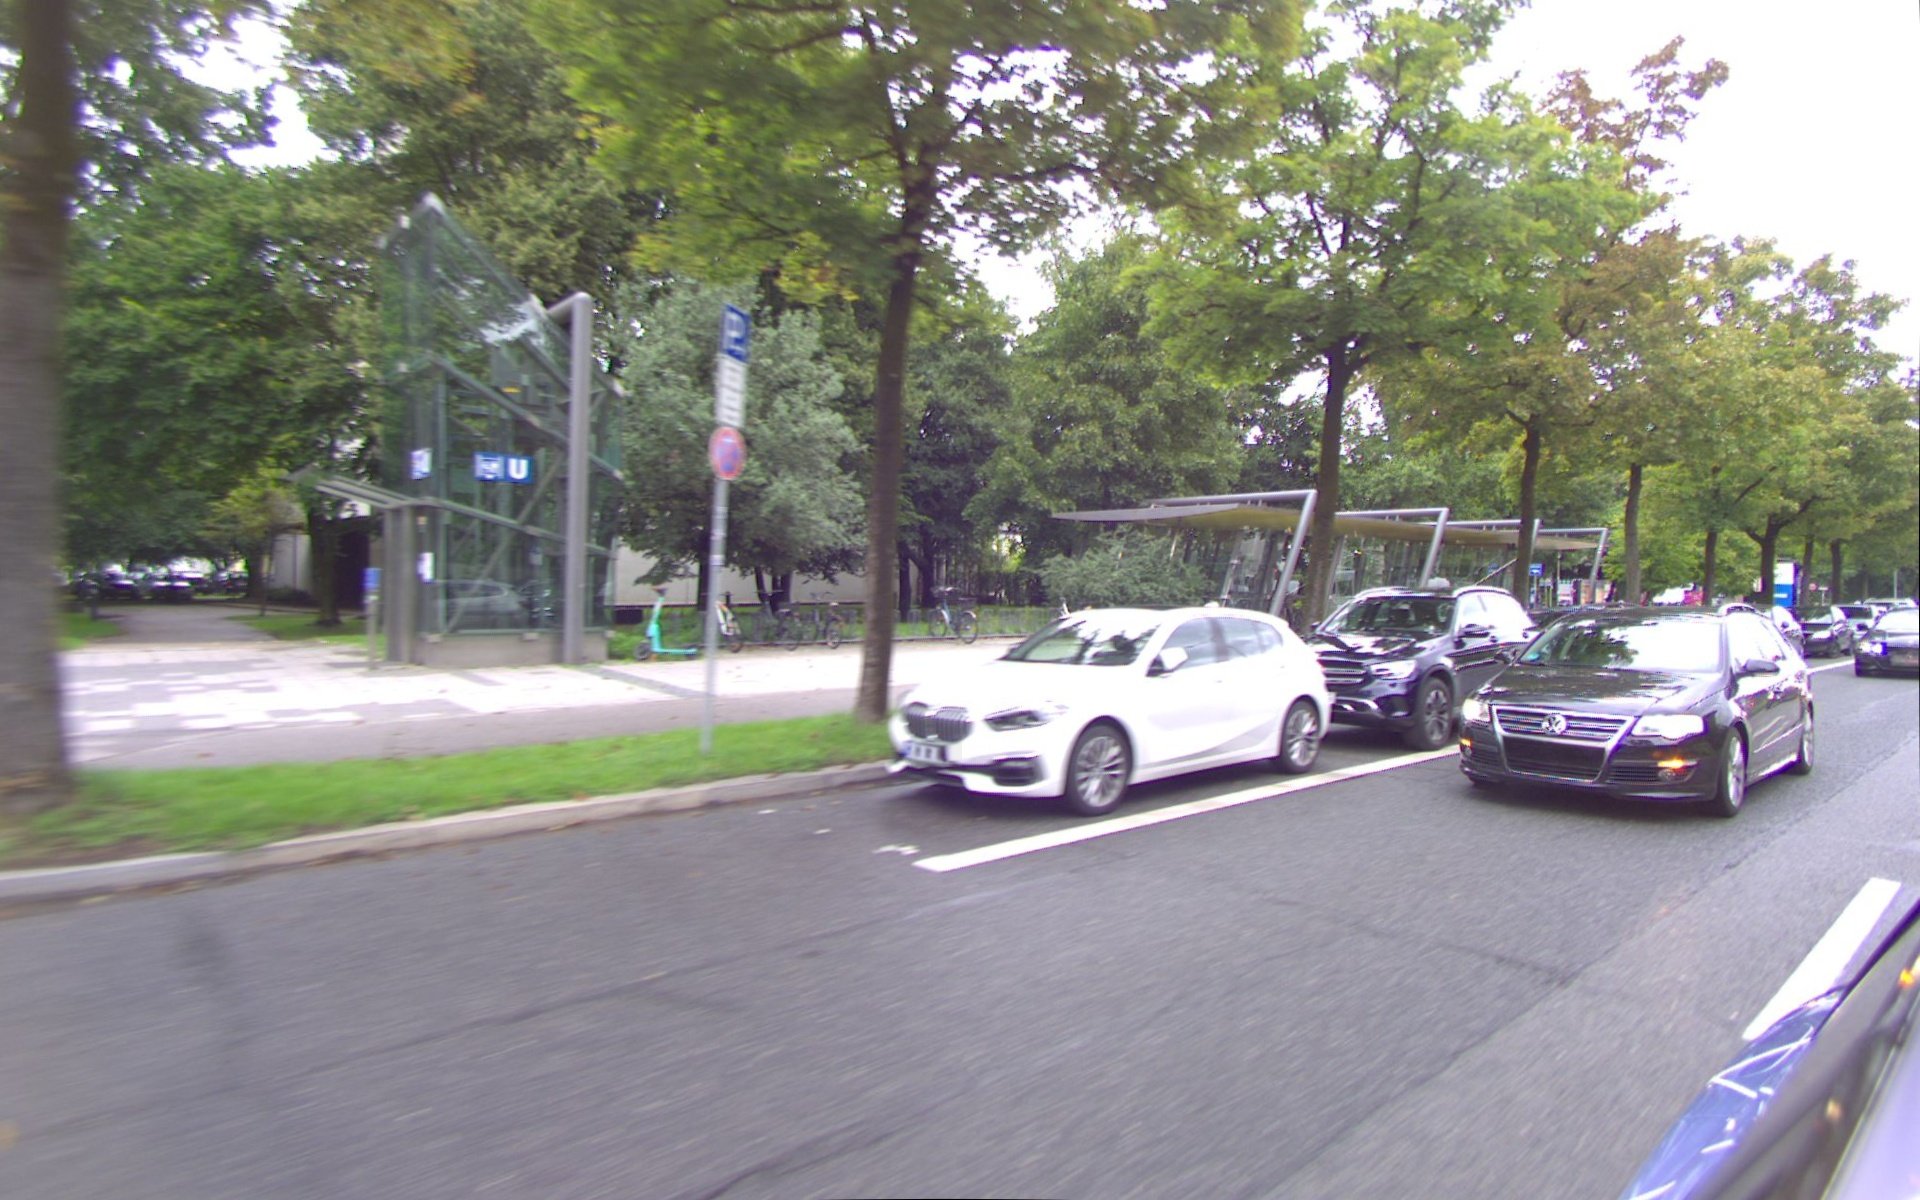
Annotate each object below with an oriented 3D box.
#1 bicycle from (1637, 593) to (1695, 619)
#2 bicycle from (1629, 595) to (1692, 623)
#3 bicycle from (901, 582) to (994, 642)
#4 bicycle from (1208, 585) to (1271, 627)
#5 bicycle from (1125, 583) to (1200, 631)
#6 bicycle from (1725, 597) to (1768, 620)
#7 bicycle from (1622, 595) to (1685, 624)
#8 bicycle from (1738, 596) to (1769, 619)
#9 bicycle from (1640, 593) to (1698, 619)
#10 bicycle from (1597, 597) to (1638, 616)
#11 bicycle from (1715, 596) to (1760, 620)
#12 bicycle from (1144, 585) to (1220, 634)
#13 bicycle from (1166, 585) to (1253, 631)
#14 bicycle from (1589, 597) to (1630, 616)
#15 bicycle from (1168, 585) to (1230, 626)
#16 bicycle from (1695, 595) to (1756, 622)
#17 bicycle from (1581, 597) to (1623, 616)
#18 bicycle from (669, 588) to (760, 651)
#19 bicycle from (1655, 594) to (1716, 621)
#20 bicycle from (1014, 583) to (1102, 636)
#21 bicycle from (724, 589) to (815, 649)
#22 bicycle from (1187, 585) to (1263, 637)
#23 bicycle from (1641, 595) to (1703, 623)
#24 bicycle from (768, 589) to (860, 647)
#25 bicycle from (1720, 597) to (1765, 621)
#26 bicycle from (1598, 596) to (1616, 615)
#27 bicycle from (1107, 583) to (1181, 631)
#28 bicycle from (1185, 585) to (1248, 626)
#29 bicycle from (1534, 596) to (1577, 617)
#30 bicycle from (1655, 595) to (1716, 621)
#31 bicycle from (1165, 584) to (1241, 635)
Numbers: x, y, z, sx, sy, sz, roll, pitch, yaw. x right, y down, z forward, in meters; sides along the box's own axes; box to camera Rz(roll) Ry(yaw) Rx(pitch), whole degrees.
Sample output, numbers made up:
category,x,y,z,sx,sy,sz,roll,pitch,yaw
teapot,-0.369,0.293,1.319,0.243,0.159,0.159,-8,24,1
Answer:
category,x,y,z,sx,sy,sz,roll,pitch,yaw
bicycle,36.344,0.298,52.141,0.574,1.171,2.344,1,3,-40
bicycle,33.240,0.430,48.061,0.520,1.171,2.344,1,3,-40
bicycle,-0.322,0.244,23.225,0.636,1.296,2.547,0,1,-40
bicycle,8.993,0.175,32.484,2.506,1.296,0.646,0,1,-41
bicycle,5.677,0.187,28.272,2.506,1.296,0.646,0,1,-41
bicycle,43.104,0.466,55.492,1.803,1.156,0.559,3,2,39
bicycle,32.478,0.429,47.406,0.520,1.171,2.344,1,3,-40
bicycle,45.444,0.420,57.950,1.962,1.213,0.864,0,2,-37
bicycle,36.792,0.298,52.539,0.574,1.171,2.344,1,3,-40
bicycle,41.186,0.400,63.409,2.088,1.168,0.718,1,1,0
bicycle,43.196,0.412,56.269,1.936,1.227,0.559,3,2,39
bicycle,6.117,0.240,27.764,2.506,1.296,0.646,0,1,-41
bicycle,7.434,0.216,30.259,2.534,1.296,0.486,1,1,35
bicycle,41.209,0.400,64.215,2.088,1.168,0.718,1,1,0
bicycle,7.936,0.174,33.494,2.506,1.296,0.646,0,1,-41
bicycle,38.744,0.410,51.259,0.574,1.171,2.344,1,3,-40
bicycle,39.690,0.399,62.594,2.088,1.168,0.718,1,1,0
bicycle,-4.778,0.344,19.558,0.636,1.102,2.547,0,1,-40
bicycle,35.896,0.347,50.106,0.520,1.171,2.344,1,3,-40
bicycle,2.507,0.224,26.246,0.636,1.296,2.547,0,1,-40
bicycle,-3.858,0.347,20.325,0.636,1.102,2.547,0,1,-40
bicycle,7.008,0.279,26.688,2.506,1.296,0.646,0,1,-41
bicycle,34.069,0.431,48.467,2.337,1.171,0.521,5,3,42
bicycle,-3.068,0.348,21.019,0.636,1.102,2.547,0,1,-40
bicycle,42.100,0.466,54.445,0.556,1.156,1.814,1,2,-31
bicycle,44.562,0.367,69.683,0.695,1.266,2.098,1,1,23
bicycle,5.264,0.179,28.799,2.506,1.296,0.646,0,1,-41
bicycle,8.366,0.175,32.933,2.506,1.296,0.646,0,1,-41
bicycle,36.084,0.393,61.331,2.092,1.168,0.717,1,1,7
bicycle,36.226,0.383,50.553,0.520,1.171,2.344,1,3,-40
bicycle,6.568,0.240,27.258,2.506,1.296,0.646,0,1,-41
